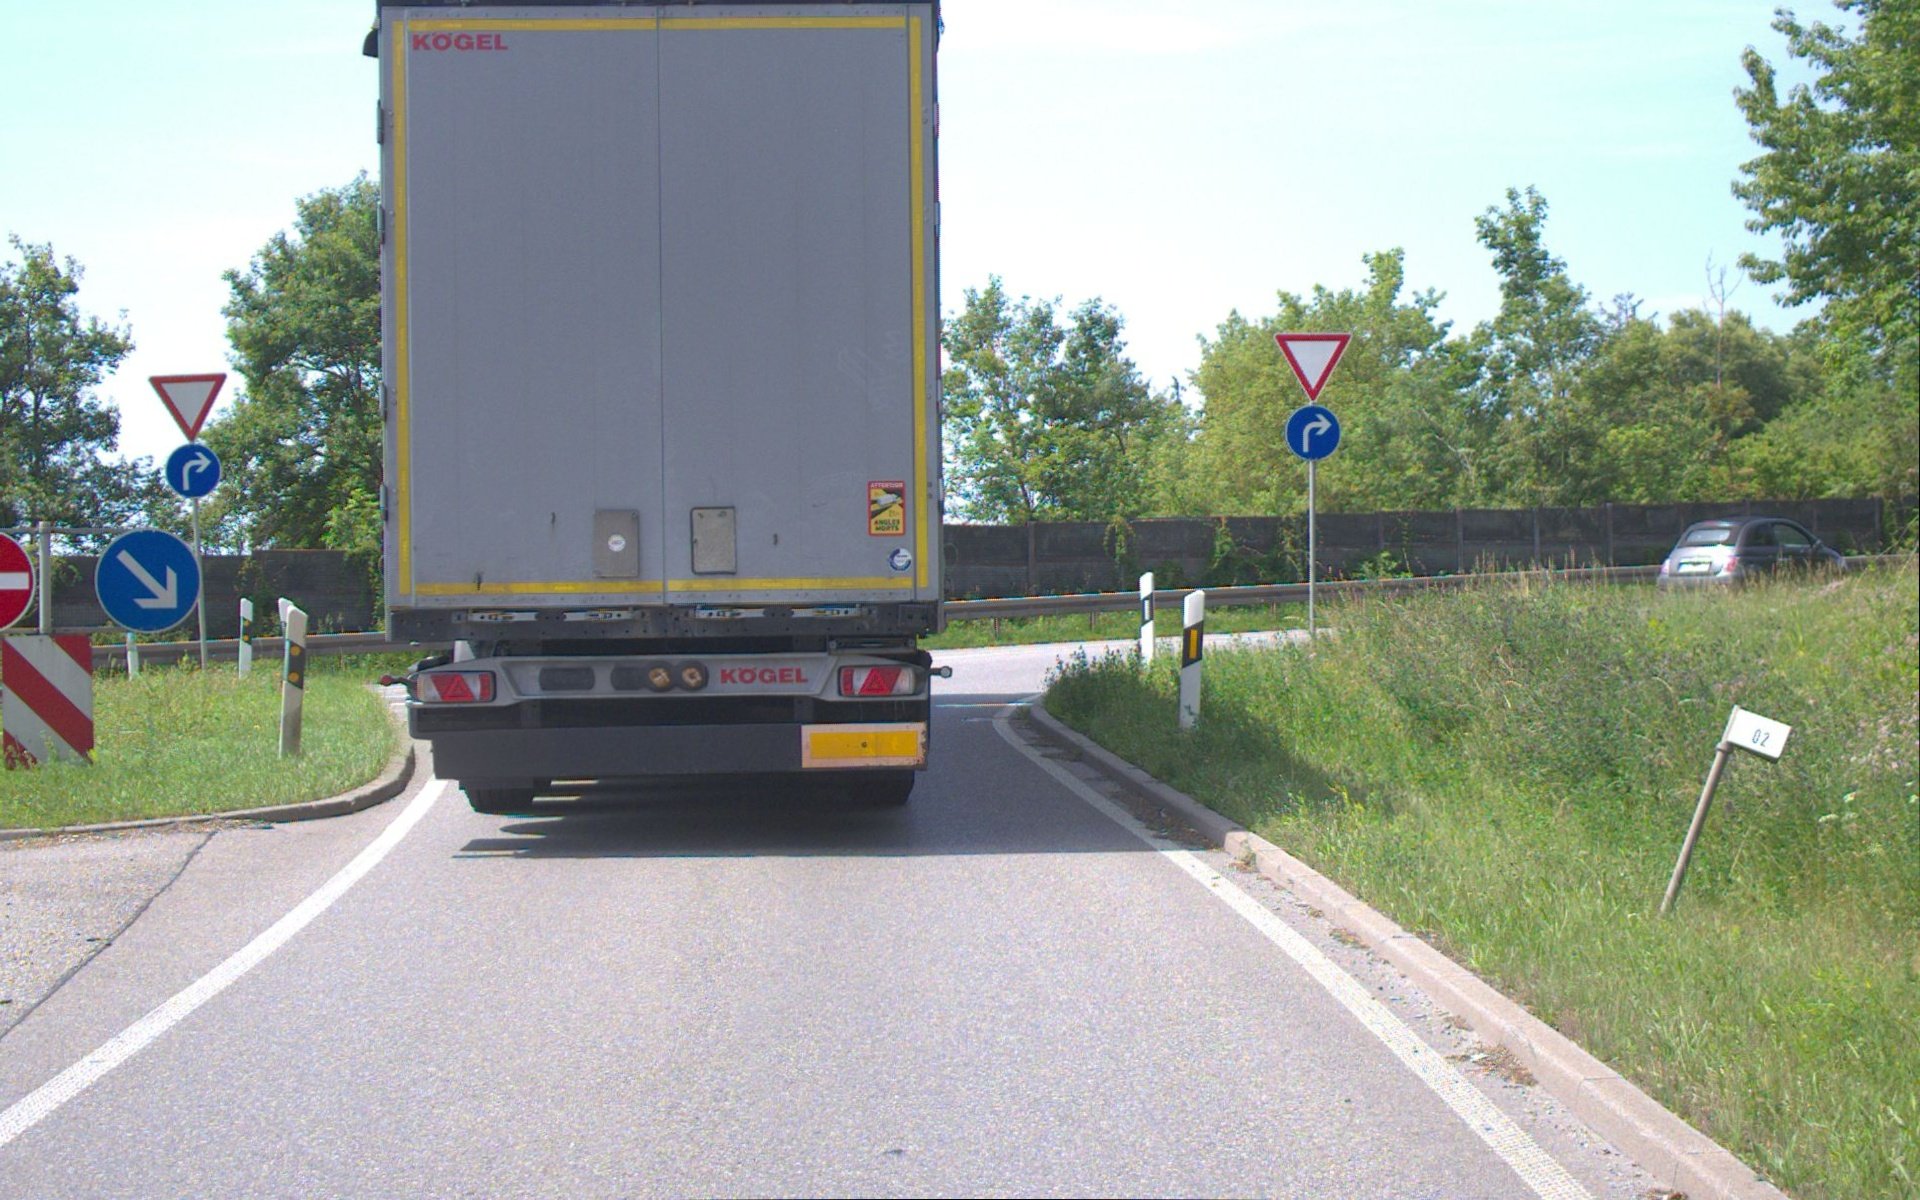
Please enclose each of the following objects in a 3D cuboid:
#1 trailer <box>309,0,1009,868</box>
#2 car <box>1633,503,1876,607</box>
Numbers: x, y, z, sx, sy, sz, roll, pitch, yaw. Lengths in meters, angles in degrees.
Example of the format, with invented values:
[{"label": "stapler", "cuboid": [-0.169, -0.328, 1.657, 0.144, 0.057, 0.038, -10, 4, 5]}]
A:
[{"label": "trailer", "cuboid": [-1.681, -0.967, 22.012, 3.026, 4.021, 13.354, -1, 1, -3]}, {"label": "car", "cuboid": [12.301, -0.706, 53.103, 3.989, 1.481, 1.670, -3, 1, -43]}]
